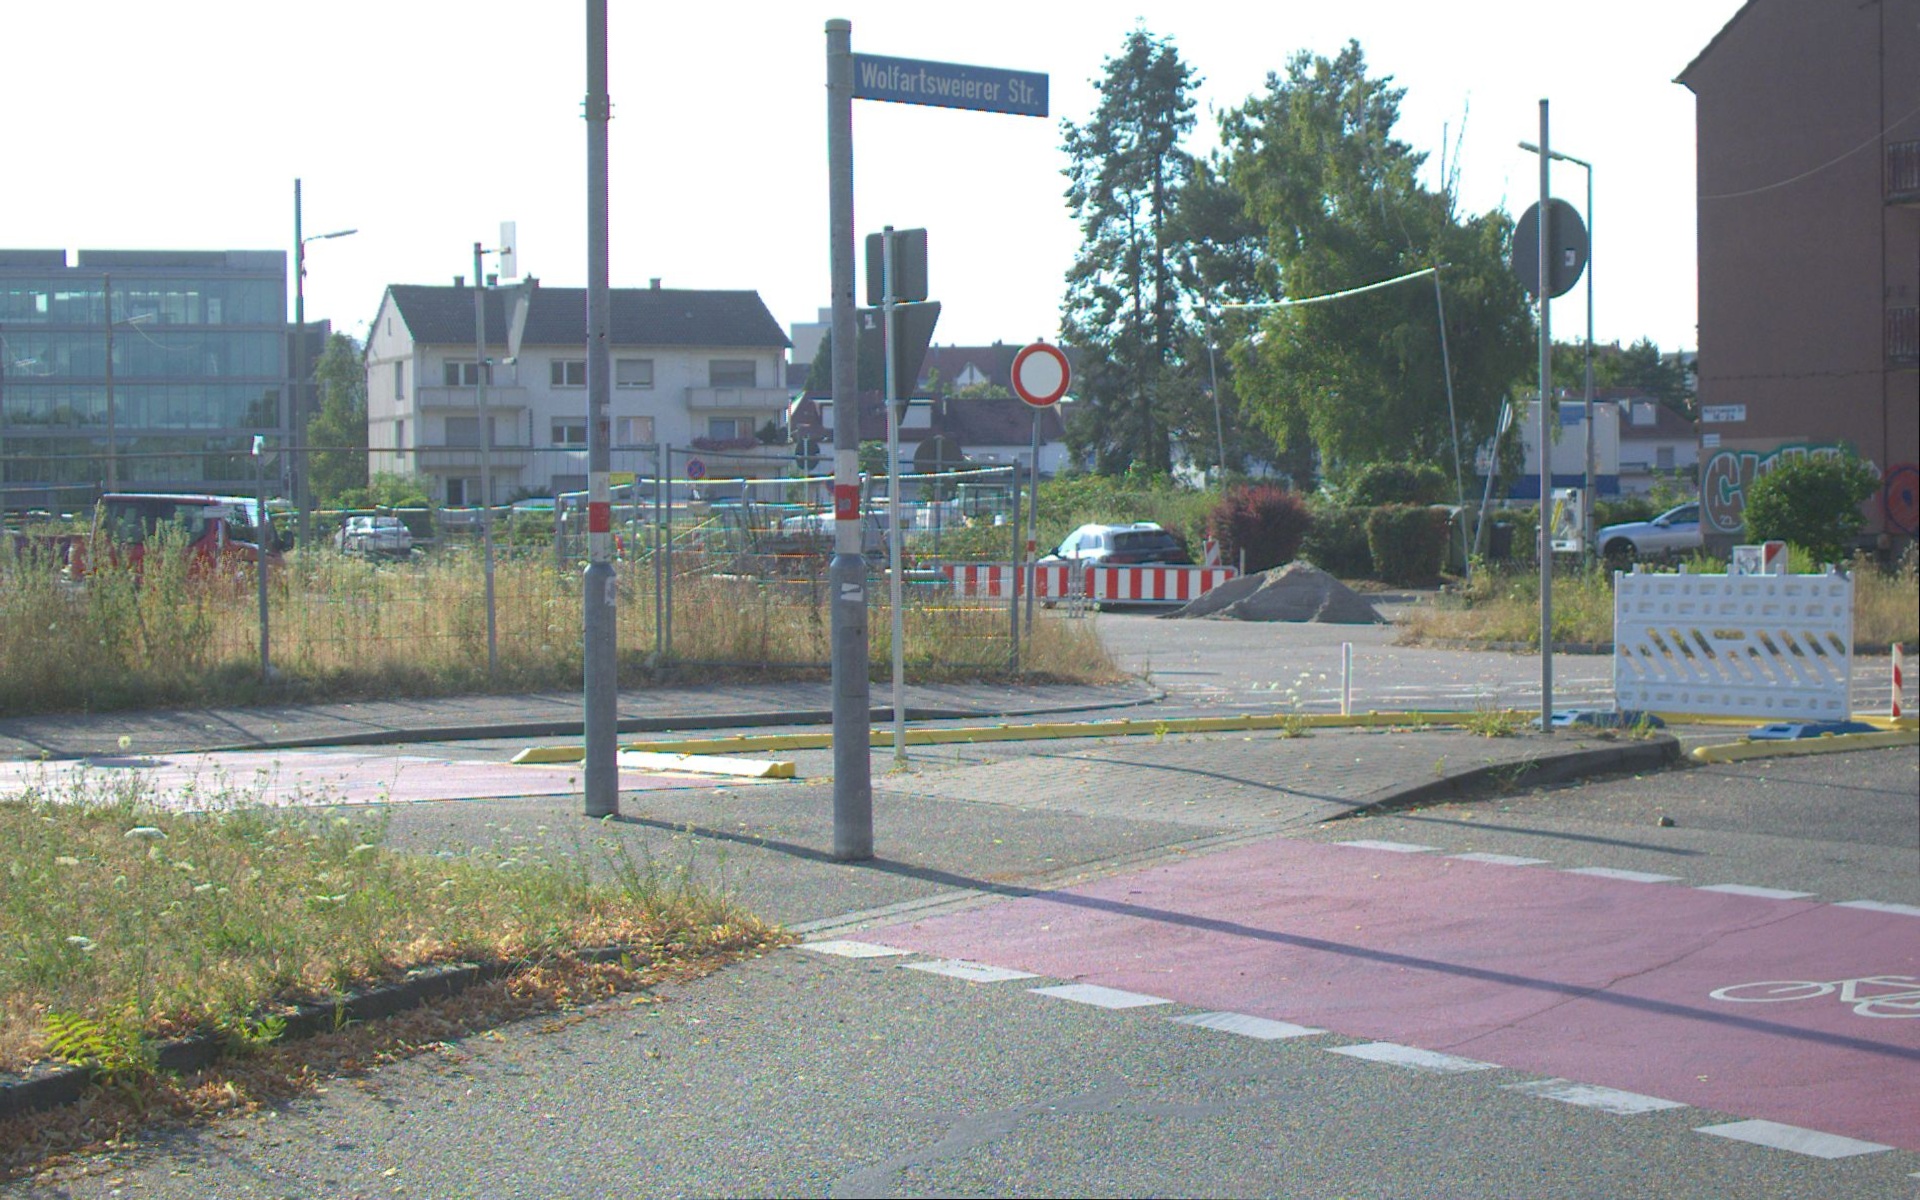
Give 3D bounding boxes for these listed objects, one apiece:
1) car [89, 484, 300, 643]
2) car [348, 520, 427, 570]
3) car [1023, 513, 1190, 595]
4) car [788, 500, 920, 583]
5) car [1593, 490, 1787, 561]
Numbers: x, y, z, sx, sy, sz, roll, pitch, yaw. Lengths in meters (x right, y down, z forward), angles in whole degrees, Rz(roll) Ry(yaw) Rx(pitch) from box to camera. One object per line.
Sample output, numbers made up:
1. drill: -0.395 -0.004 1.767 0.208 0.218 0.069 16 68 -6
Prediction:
1. car: -10.311 -0.540 46.702 1.993 2.007 5.314 -1 1 -4
2. car: -21.704 -2.108 130.225 2.145 1.831 4.363 -1 1 -21
3. car: 2.872 -0.937 68.228 1.993 1.546 4.001 -1 2 -19
4. car: -2.592 -1.429 83.071 1.862 1.941 4.001 -1 2 -23
5. car: 16.244 -1.655 76.471 3.991 1.525 1.998 0 2 20
